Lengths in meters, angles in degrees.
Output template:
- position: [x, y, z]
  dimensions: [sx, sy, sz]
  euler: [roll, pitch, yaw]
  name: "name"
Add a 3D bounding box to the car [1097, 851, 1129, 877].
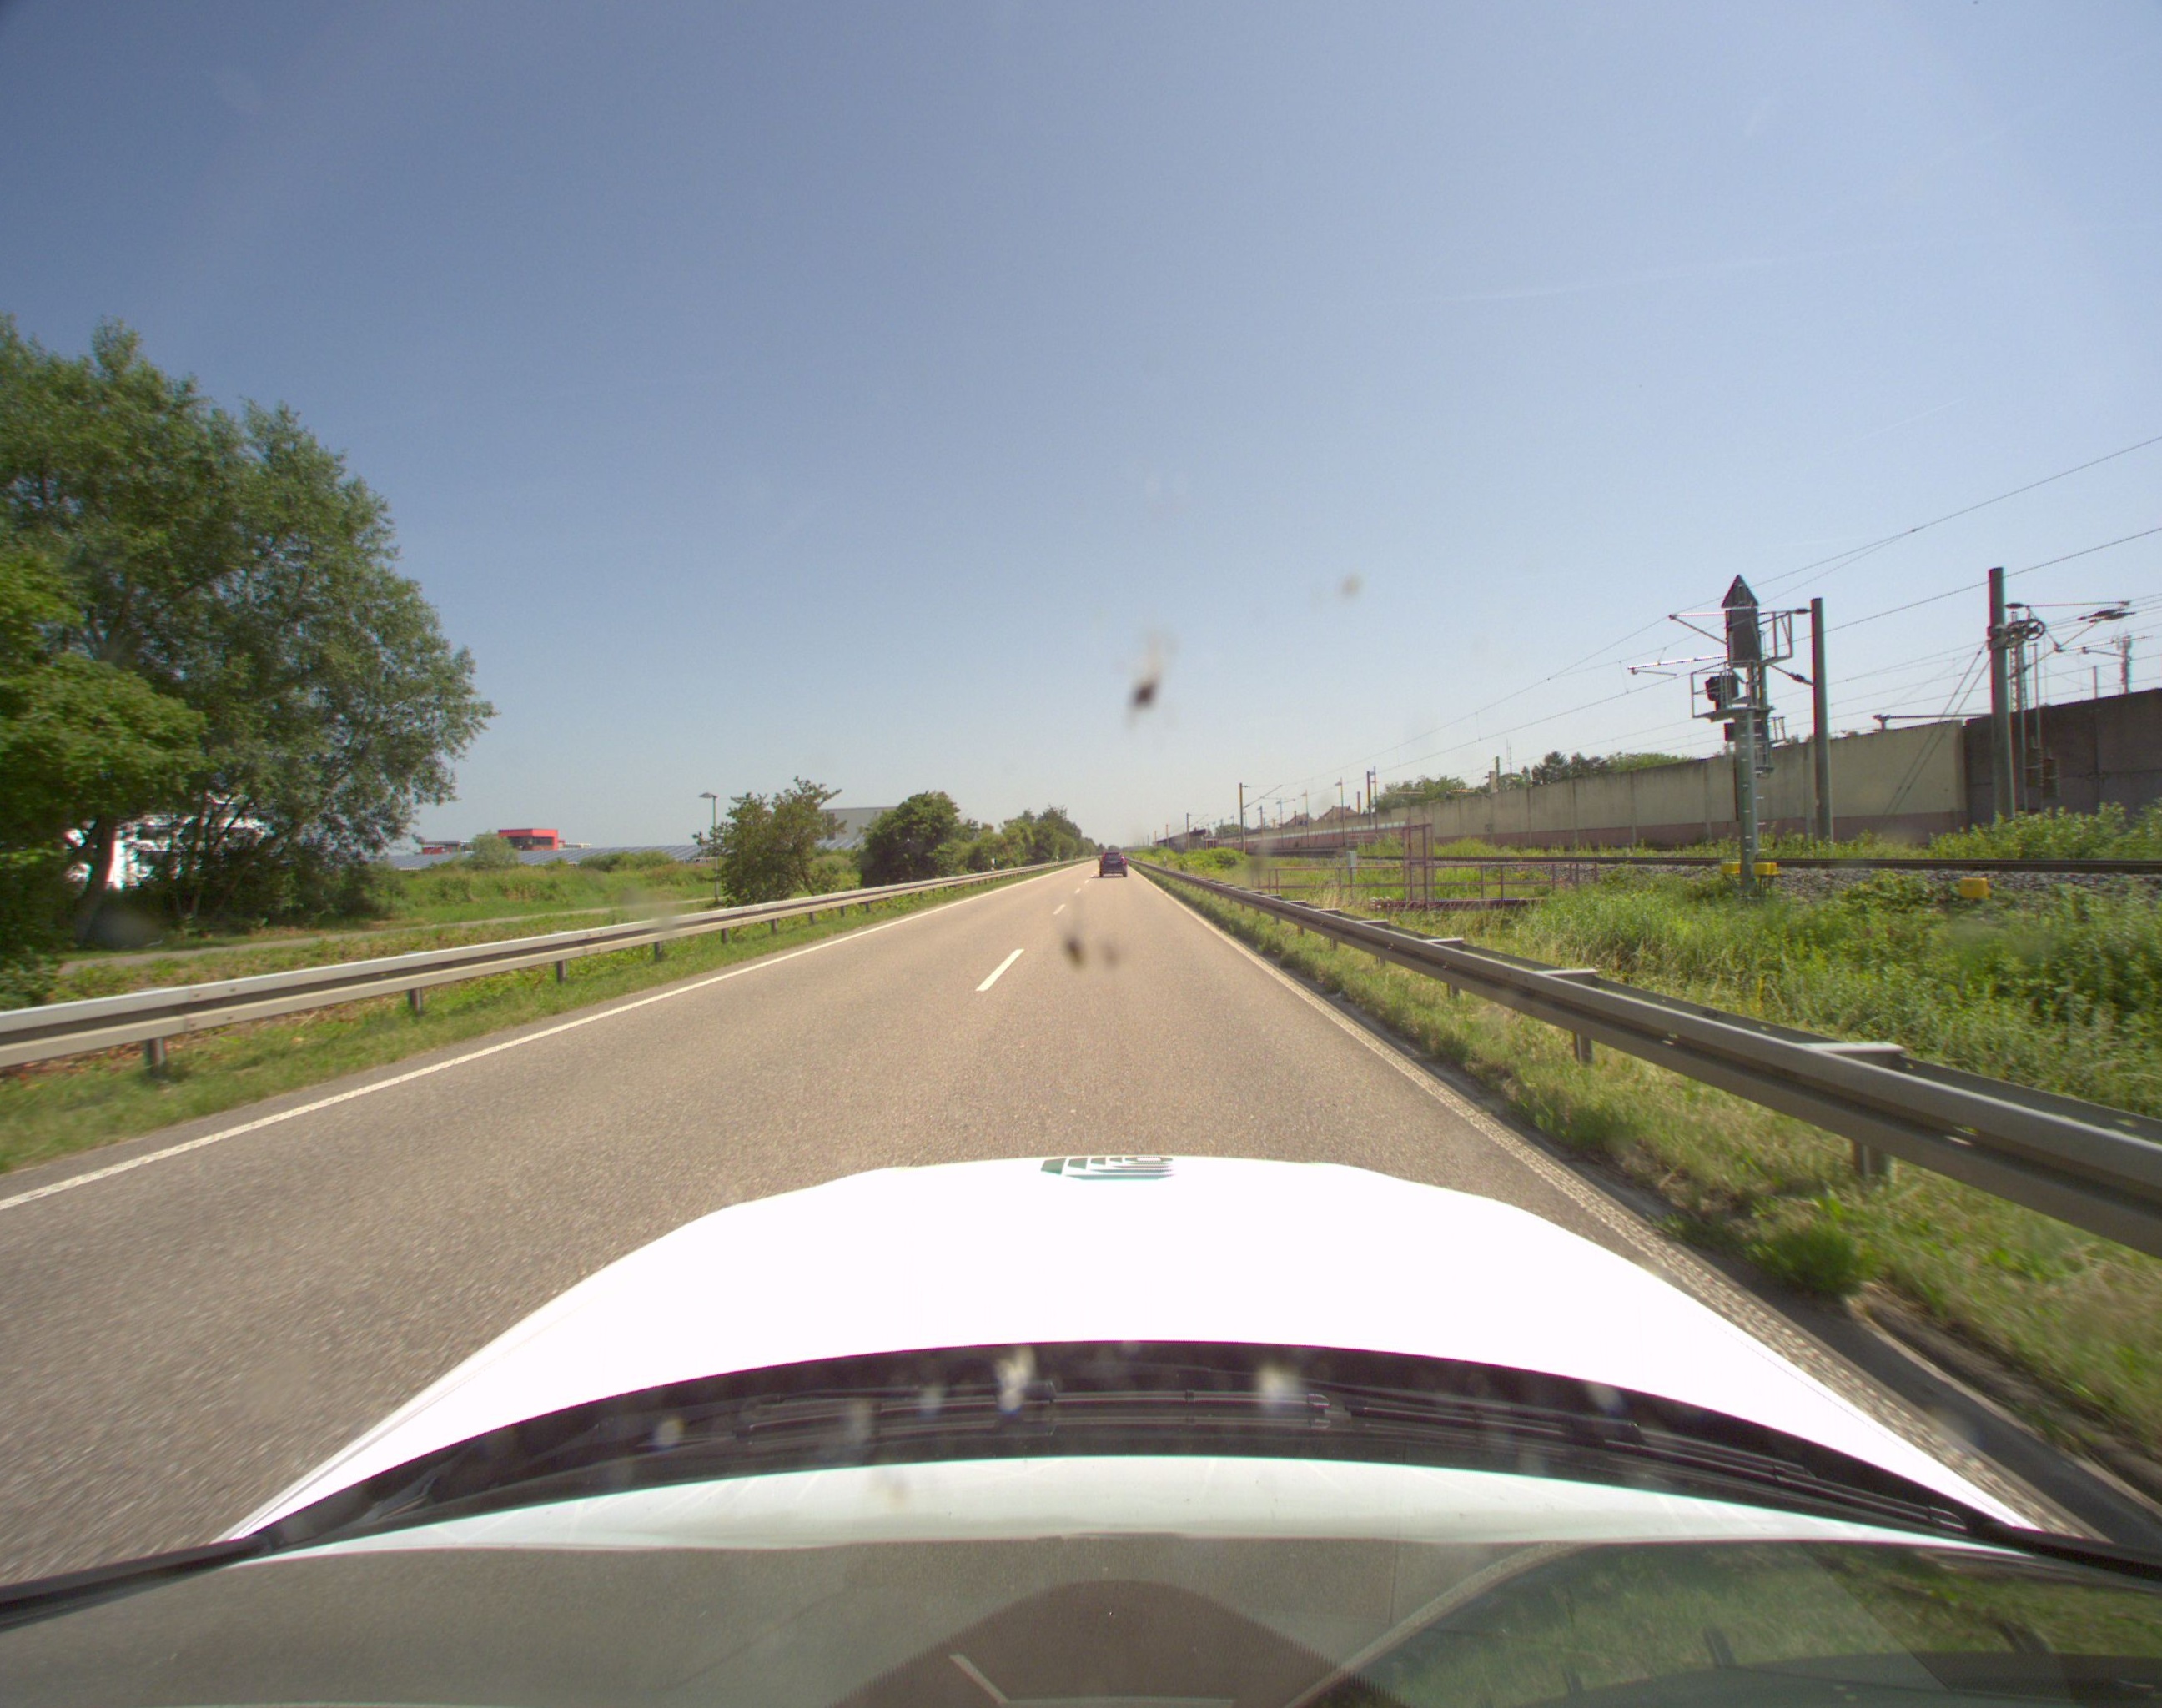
- position: [2.164, 0.688, 55.845]
  dimensions: [1.987, 1.700, 3.999]
  euler: [-1, 0, 0]
  name: "car"
